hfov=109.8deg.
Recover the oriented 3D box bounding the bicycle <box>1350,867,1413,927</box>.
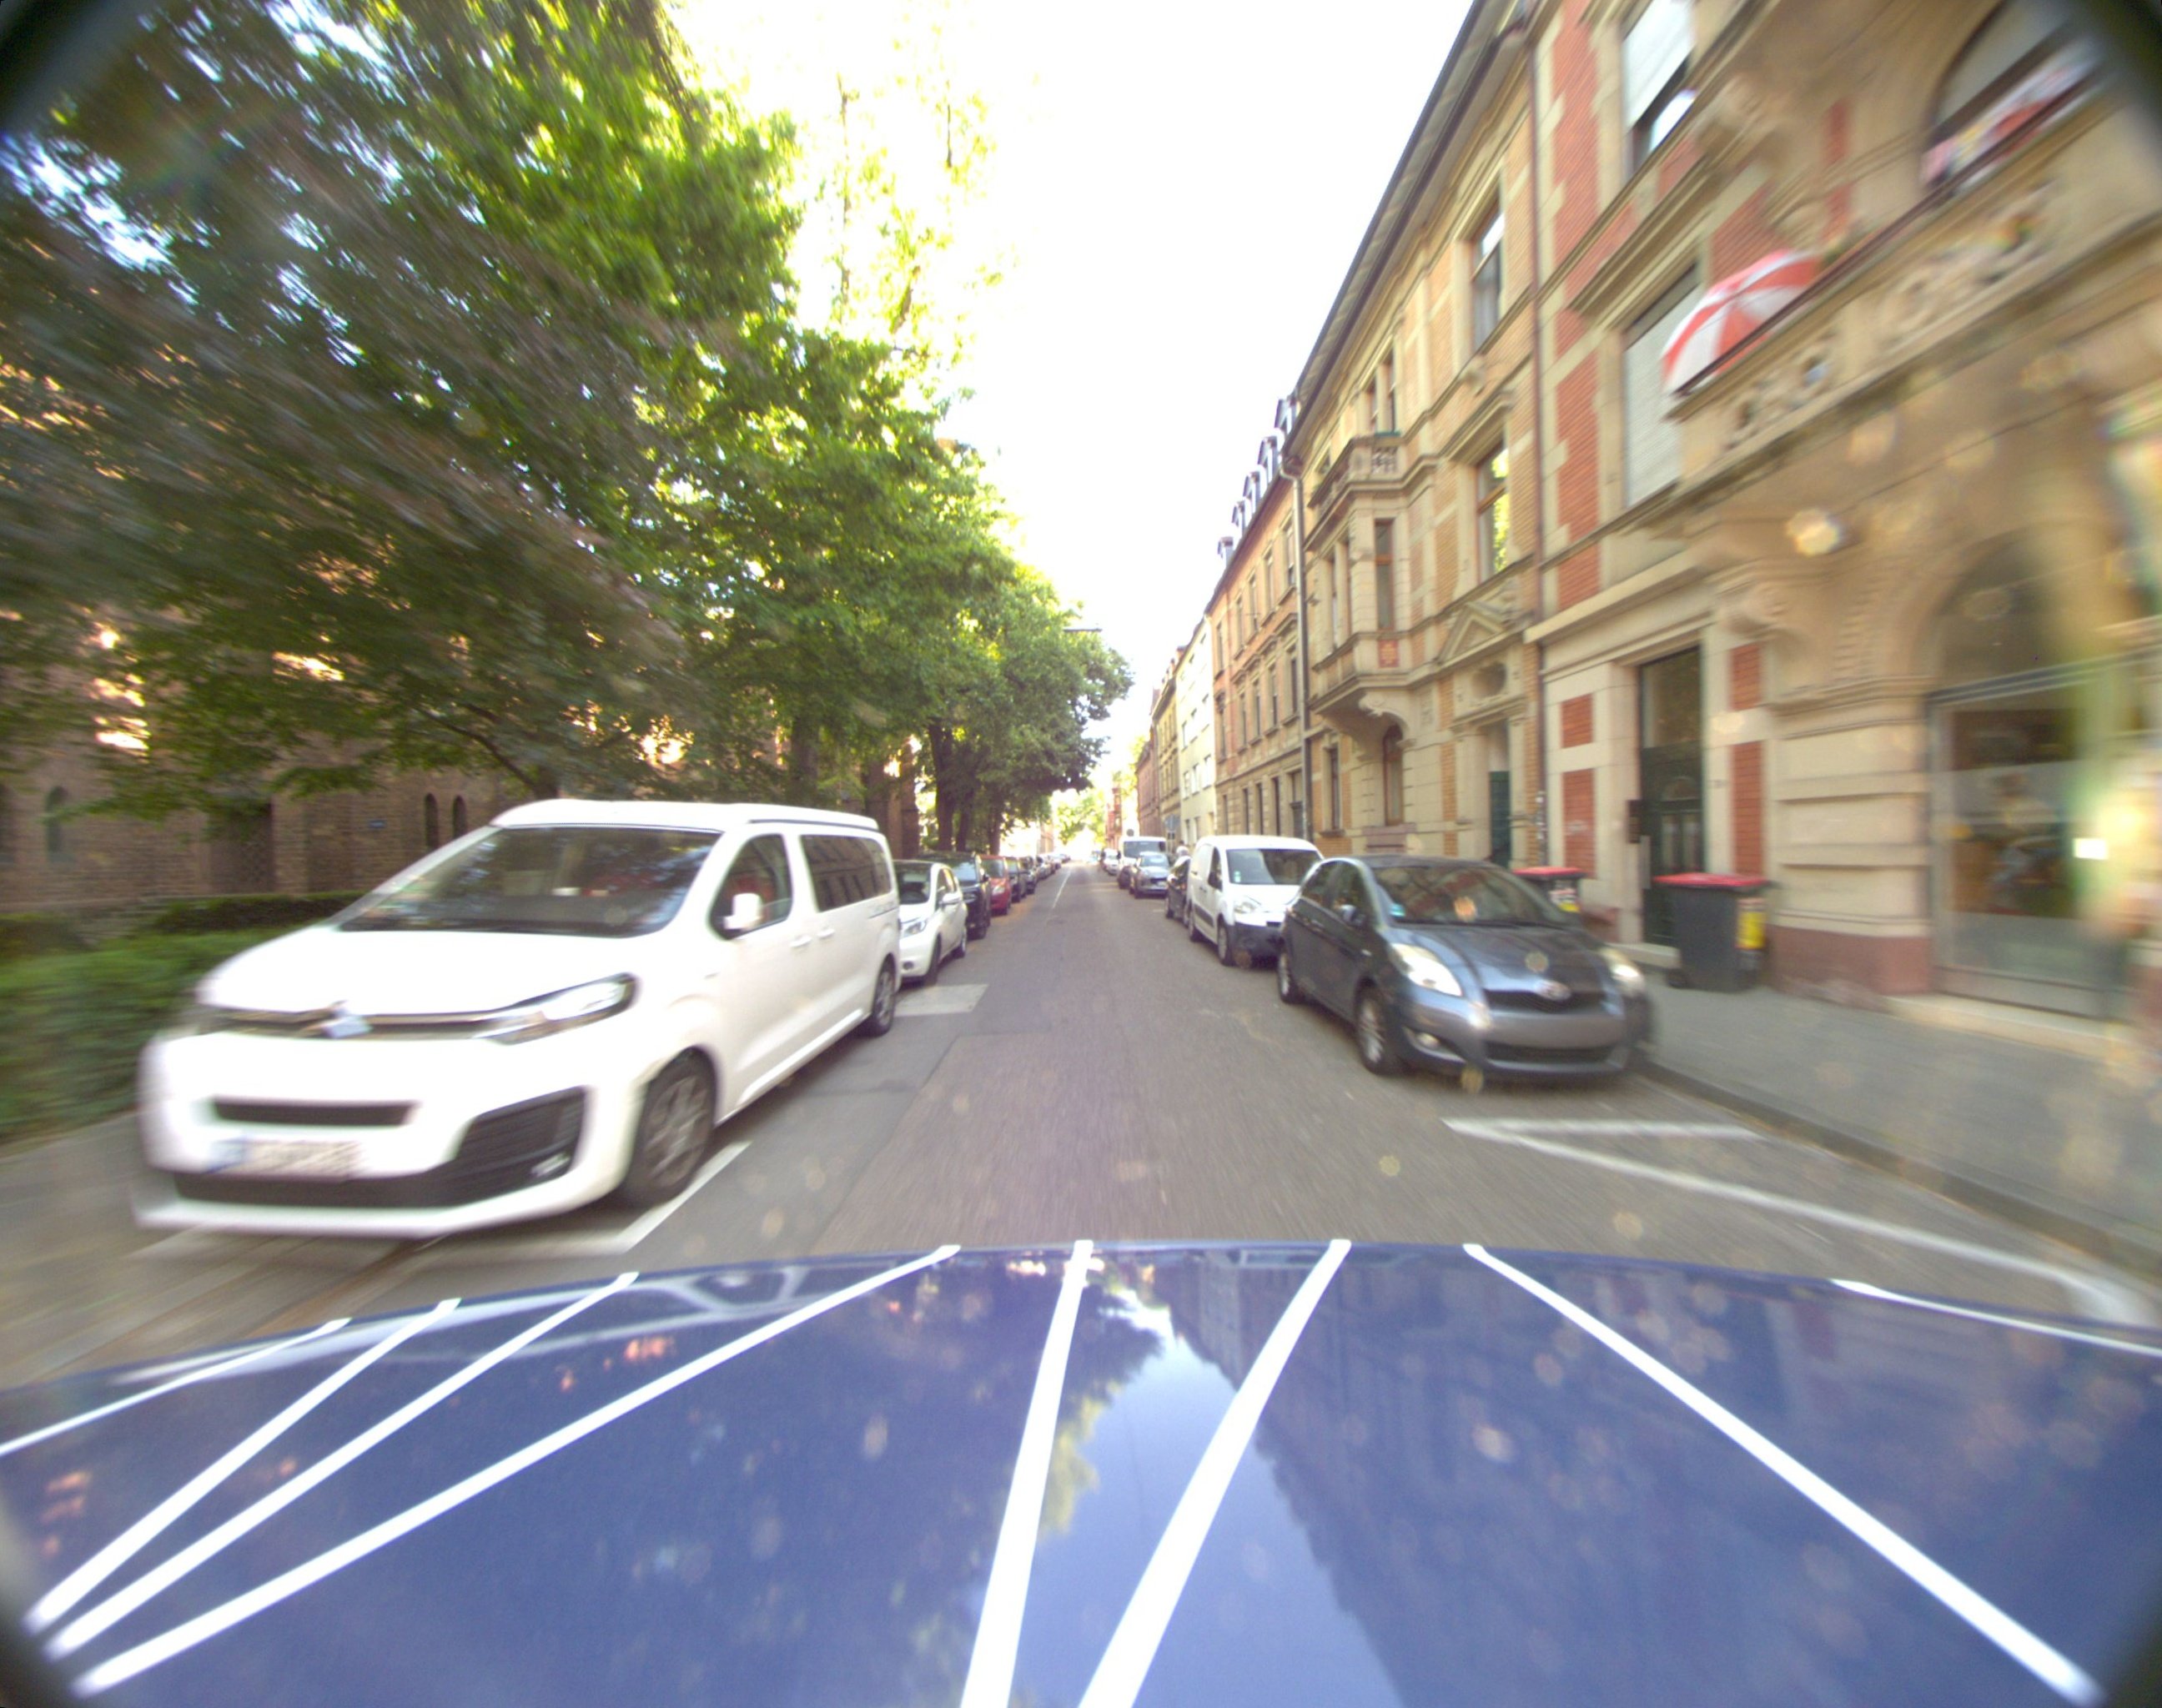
[{"bbox_3d":[5.793,0.803,14.728,0.572,1.035,1.546,-4,1,0],"label":"bicycle"}]

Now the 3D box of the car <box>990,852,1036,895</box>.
[{"bbox_3d":[-2.721,0.730,31.124,1.680,1.433,4.692,3,1,-4],"label":"car"}]

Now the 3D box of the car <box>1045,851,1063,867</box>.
[{"bbox_3d":[-2.509,0.452,70.421,1.626,1.428,4.001,0,1,-1],"label":"car"}]

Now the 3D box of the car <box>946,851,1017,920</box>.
[{"bbox_3d":[-2.710,0.801,21.433,1.623,1.615,3.861,3,1,-3],"label":"car"}]

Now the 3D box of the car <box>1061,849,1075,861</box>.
[{"bbox_3d":[-1.821,0.138,105.654,1.845,1.643,4.000,0,1,0],"label":"car"}]

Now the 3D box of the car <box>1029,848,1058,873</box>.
[{"bbox_3d":[-2.657,0.441,54.865,1.668,1.577,4.100,3,1,2],"label":"car"}]

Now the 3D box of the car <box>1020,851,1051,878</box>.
[{"bbox_3d":[-2.688,0.607,45.836,1.603,1.462,3.868,1,1,1],"label":"car"}]

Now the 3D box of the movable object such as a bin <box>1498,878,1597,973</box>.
[{"bbox_3d":[5.645,0.842,9.235,0.639,1.035,0.856,-4,1,0],"label":"movable object such as a bin"}]

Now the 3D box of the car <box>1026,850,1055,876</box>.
[{"bbox_3d":[-2.670,0.573,50.290,1.603,1.497,3.719,3,1,1],"label":"car"}]

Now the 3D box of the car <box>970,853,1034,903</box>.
[{"bbox_3d":[-2.672,0.783,26.512,1.622,1.478,3.776,3,1,2],"label":"car"}]

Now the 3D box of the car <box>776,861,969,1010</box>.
[{"bbox_3d":[-2.644,0.941,10.550,1.723,1.562,3.827,-2,1,-2],"label":"car"}]

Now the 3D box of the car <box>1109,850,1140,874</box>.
[{"bbox_3d":[2.762,0.470,49.301,1.735,1.447,4.520,0,1,0],"label":"car"}]

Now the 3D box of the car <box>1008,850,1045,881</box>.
[{"bbox_3d":[-2.922,0.604,41.250,1.603,1.460,3.563,3,1,1],"label":"car"}]

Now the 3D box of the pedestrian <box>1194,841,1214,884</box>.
[{"bbox_3d":[5.126,0.349,31.677,0.703,1.762,0.649,-2,2,0],"label":"pedestrian"}]

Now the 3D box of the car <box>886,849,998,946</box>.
[{"bbox_3d":[-2.745,0.780,15.835,1.744,1.594,4.261,3,1,-4],"label":"car"}]

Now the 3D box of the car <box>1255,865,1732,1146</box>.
[{"bbox_3d":[2.742,0.875,6.203,1.697,1.472,3.972,0,1,0],"label":"car"}]

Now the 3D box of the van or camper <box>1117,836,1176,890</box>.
[{"bbox_3d":[2.698,0.324,32.516,2.182,2.135,5.154,0,1,2],"label":"van or camper"}]

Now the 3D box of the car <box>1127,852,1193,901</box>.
[{"bbox_3d":[2.643,0.714,26.219,1.771,1.505,4.192,0,1,-1],"label":"car"}]

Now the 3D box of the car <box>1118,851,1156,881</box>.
[{"bbox_3d":[2.797,0.580,38.889,1.735,1.394,4.315,0,1,2],"label":"car"}]

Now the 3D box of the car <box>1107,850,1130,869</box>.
[{"bbox_3d":[2.896,0.411,59.639,1.713,1.409,3.802,1,1,1],"label":"car"}]

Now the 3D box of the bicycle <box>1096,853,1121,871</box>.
[{"bbox_3d":[2.044,0.574,56.776,1.840,1.237,0.573,-4,1,43],"label":"bicycle"}]

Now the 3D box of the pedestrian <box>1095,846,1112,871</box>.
[{"bbox_3d":[1.664,0.333,56.413,1.112,1.793,0.490,-3,1,43],"label":"pedestrian"}]

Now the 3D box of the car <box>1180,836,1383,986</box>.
[{"bbox_3d":[2.721,0.671,11.475,1.836,1.801,4.571,0,1,0],"label":"car"}]

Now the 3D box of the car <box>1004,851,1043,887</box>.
[{"bbox_3d":[-2.736,0.690,36.885,1.603,1.497,3.627,3,1,-1],"label":"car"}]

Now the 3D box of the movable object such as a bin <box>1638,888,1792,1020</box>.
[{"bbox_3d":[5.712,0.870,6.895,0.639,1.035,0.856,-4,1,0],"label":"movable object such as a bin"}]

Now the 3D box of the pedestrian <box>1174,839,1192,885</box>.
[{"bbox_3d":[4.266,0.341,31.861,0.580,1.872,0.904,-2,2,0],"label":"pedestrian"}]

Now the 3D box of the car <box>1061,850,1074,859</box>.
[{"bbox_3d":[-2.428,0.101,137.247,1.998,1.659,4.000,-2,1,2],"label":"car"}]

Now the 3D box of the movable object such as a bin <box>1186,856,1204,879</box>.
[{"bbox_3d":[5.515,0.645,36.876,0.802,1.082,0.666,-2,2,4],"label":"movable object such as a bin"}]

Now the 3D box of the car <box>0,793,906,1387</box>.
[{"bbox_3d":[-2.742,0.772,4.960,1.919,1.987,4.792,0,1,2],"label":"car"}]

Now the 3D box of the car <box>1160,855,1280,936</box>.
[{"bbox_3d":[2.865,0.803,16.485,1.697,1.505,3.971,0,1,-3],"label":"car"}]

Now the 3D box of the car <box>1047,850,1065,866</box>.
[{"bbox_3d":[-2.509,0.354,76.558,1.713,1.511,3.830,0,1,-1],"label":"car"}]
